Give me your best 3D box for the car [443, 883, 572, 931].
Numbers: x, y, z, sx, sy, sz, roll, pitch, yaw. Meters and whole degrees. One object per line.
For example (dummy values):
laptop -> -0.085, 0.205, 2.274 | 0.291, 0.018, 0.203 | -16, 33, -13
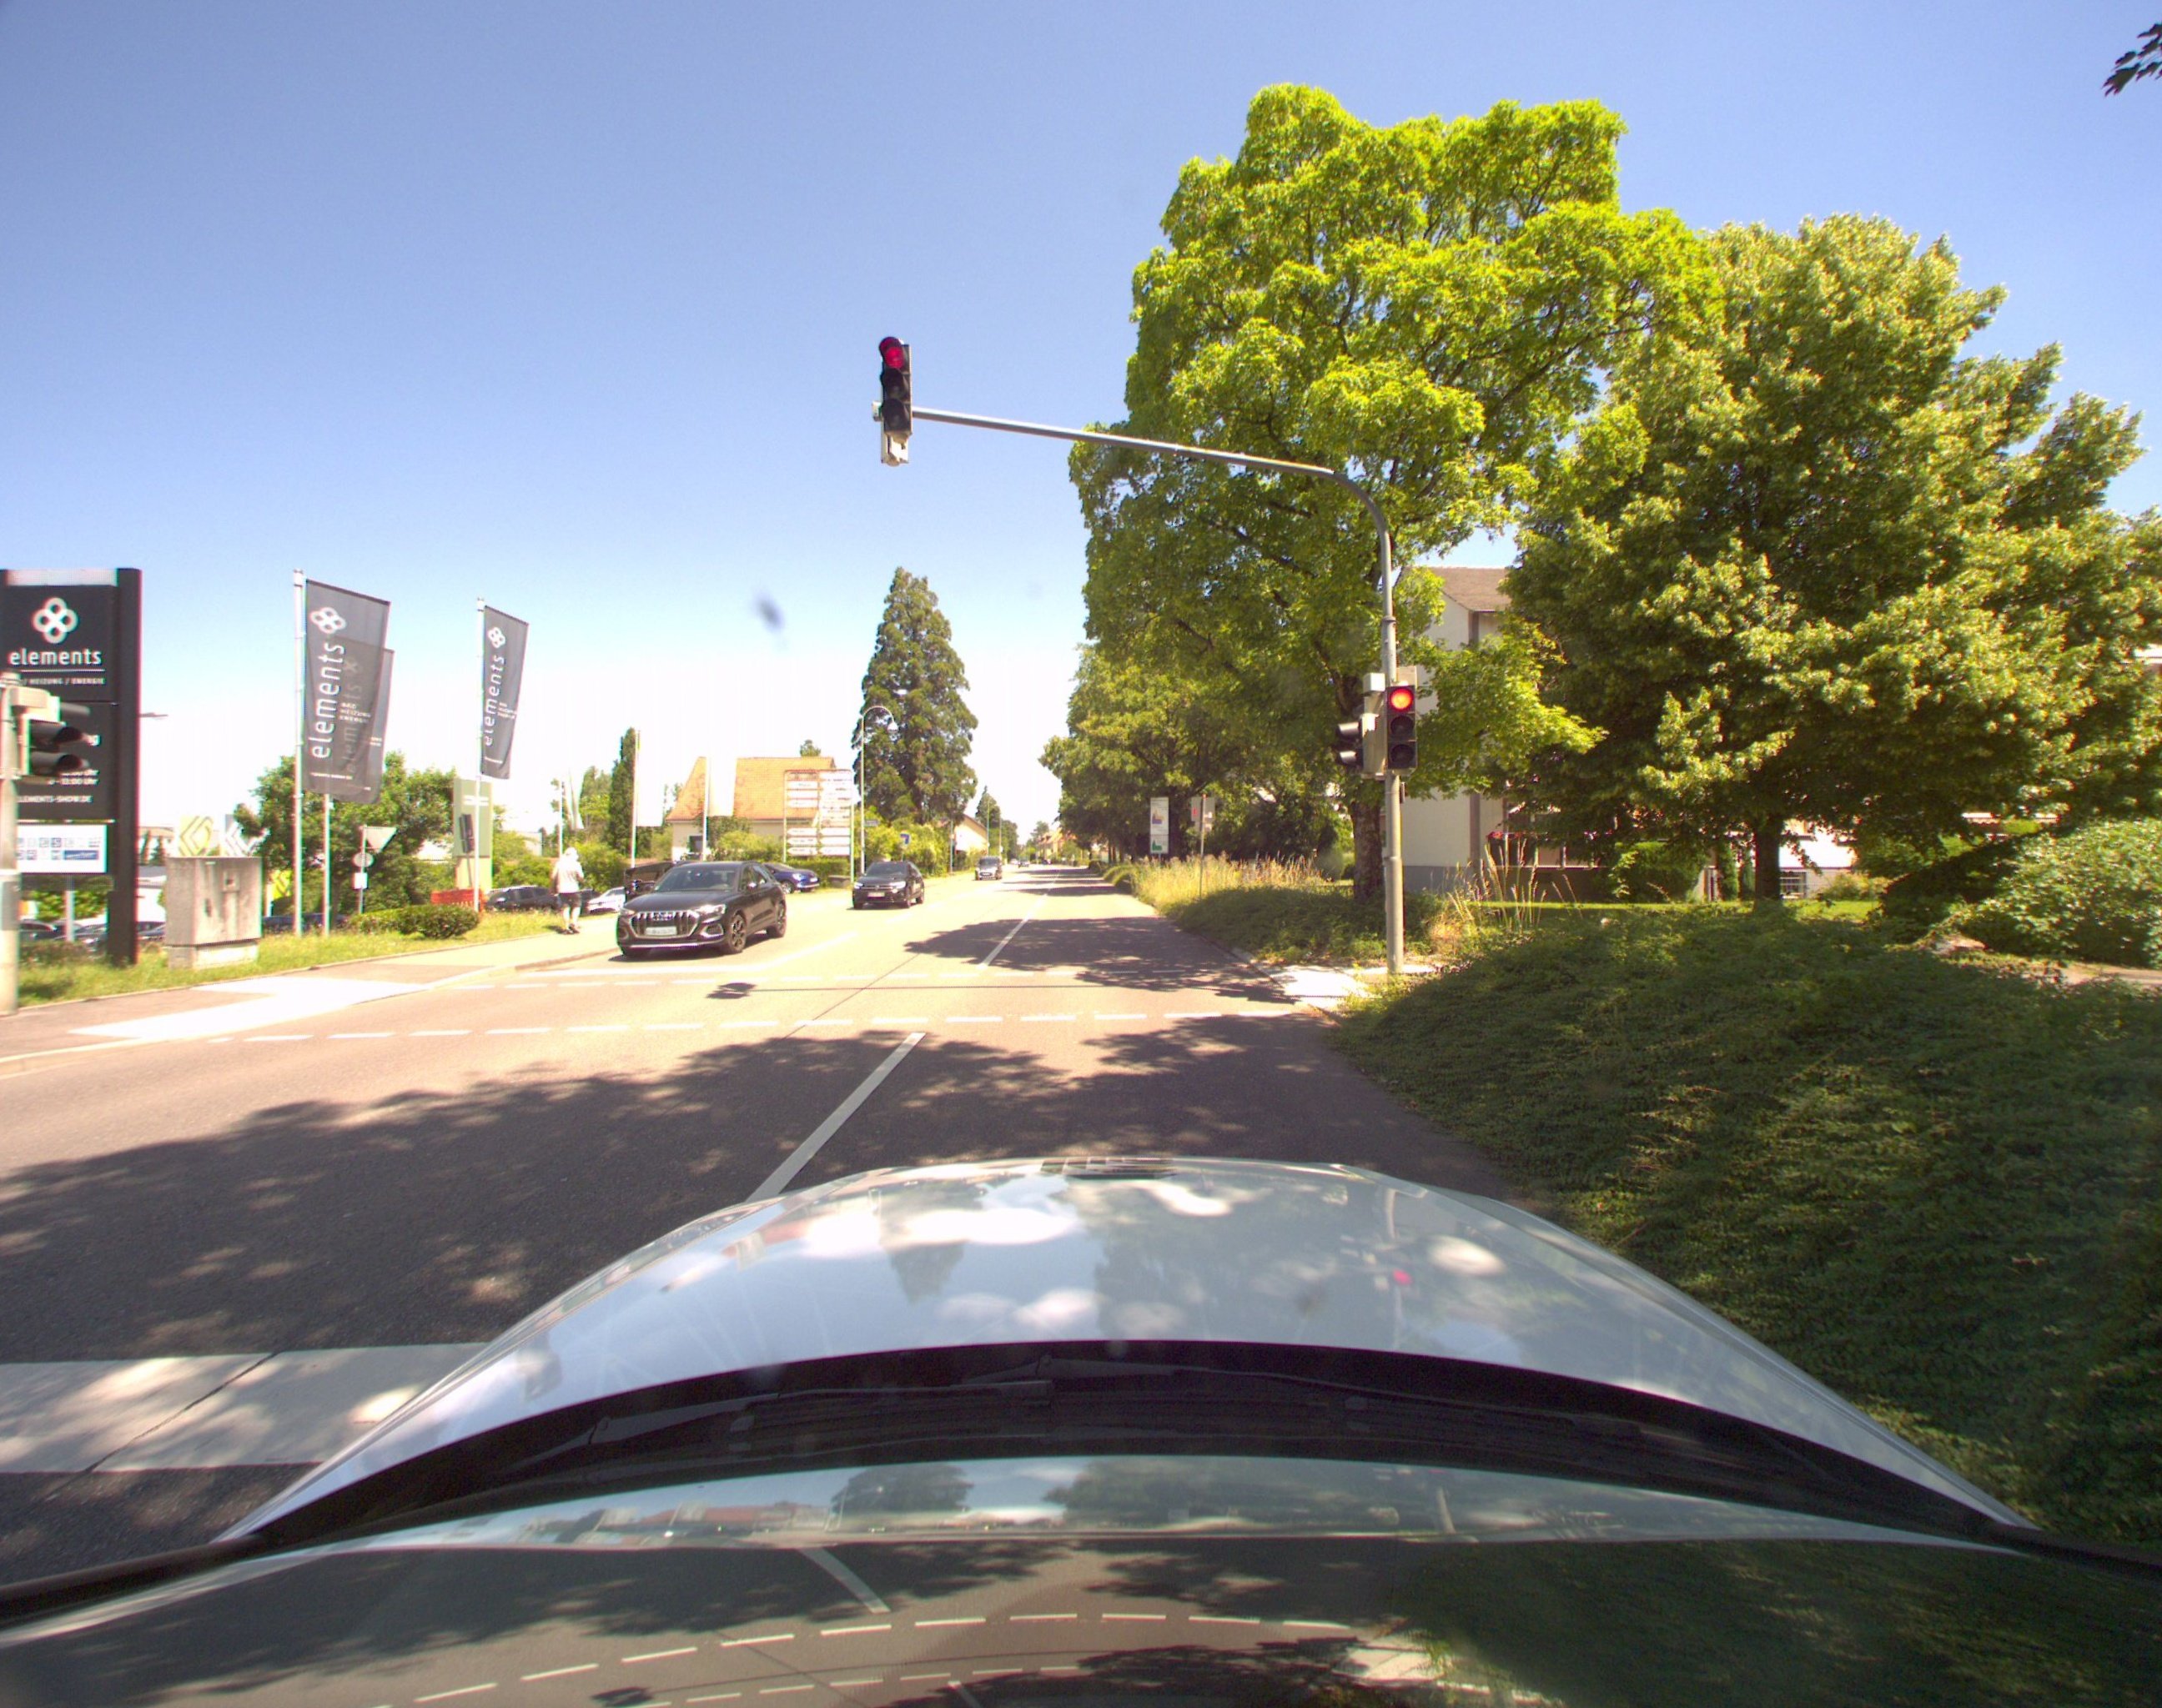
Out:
car -> -23.488, 2.121, 33.543 | 1.795, 1.722, 4.106 | -1, 0, 16

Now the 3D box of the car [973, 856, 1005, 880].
car -> -6.914, 1.013, 61.605 | 1.804, 1.762, 4.571 | 0, 0, 1

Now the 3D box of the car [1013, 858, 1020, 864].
car -> -18.840, 2.091, 239.204 | 1.675, 1.684, 4.000 | -1, 0, 1

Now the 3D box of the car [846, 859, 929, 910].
car -> -6.289, 0.940, 26.859 | 1.864, 1.507, 4.049 | -1, 0, -2

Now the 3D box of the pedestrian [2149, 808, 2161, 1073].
pedestrian -> 7.075, 0.527, 4.691 | 0.717, 1.633, 0.849 | -1, -1, -7

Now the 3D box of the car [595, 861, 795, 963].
car -> -6.869, 0.929, 15.077 | 1.923, 1.555, 4.295 | -1, 0, -5

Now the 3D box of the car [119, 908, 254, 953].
car -> -37.018, 3.109, 33.866 | 1.754, 1.486, 3.983 | -1, 0, -12

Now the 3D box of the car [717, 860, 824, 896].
car -> -13.924, 1.068, 36.625 | 4.109, 1.504, 1.782 | -1, 0, 10

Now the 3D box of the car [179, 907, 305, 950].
car -> -34.500, 3.037, 33.643 | 1.647, 1.415, 3.855 | -1, 0, -9

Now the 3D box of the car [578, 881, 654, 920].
car -> -23.392, 2.285, 41.162 | 1.806, 1.722, 4.081 | 0, 0, -6

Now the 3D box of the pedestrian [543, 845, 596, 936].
pedestrian -> -10.249, 0.715, 16.317 | 0.538, 1.761, 0.706 | -1, -1, 28

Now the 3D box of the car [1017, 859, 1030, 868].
car -> -9.743, 1.621, 138.292 | 1.788, 1.536, 4.313 | -1, 0, -1

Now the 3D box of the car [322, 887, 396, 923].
car -> -39.932, 2.790, 45.159 | 1.816, 1.722, 4.059 | 0, 0, -22
